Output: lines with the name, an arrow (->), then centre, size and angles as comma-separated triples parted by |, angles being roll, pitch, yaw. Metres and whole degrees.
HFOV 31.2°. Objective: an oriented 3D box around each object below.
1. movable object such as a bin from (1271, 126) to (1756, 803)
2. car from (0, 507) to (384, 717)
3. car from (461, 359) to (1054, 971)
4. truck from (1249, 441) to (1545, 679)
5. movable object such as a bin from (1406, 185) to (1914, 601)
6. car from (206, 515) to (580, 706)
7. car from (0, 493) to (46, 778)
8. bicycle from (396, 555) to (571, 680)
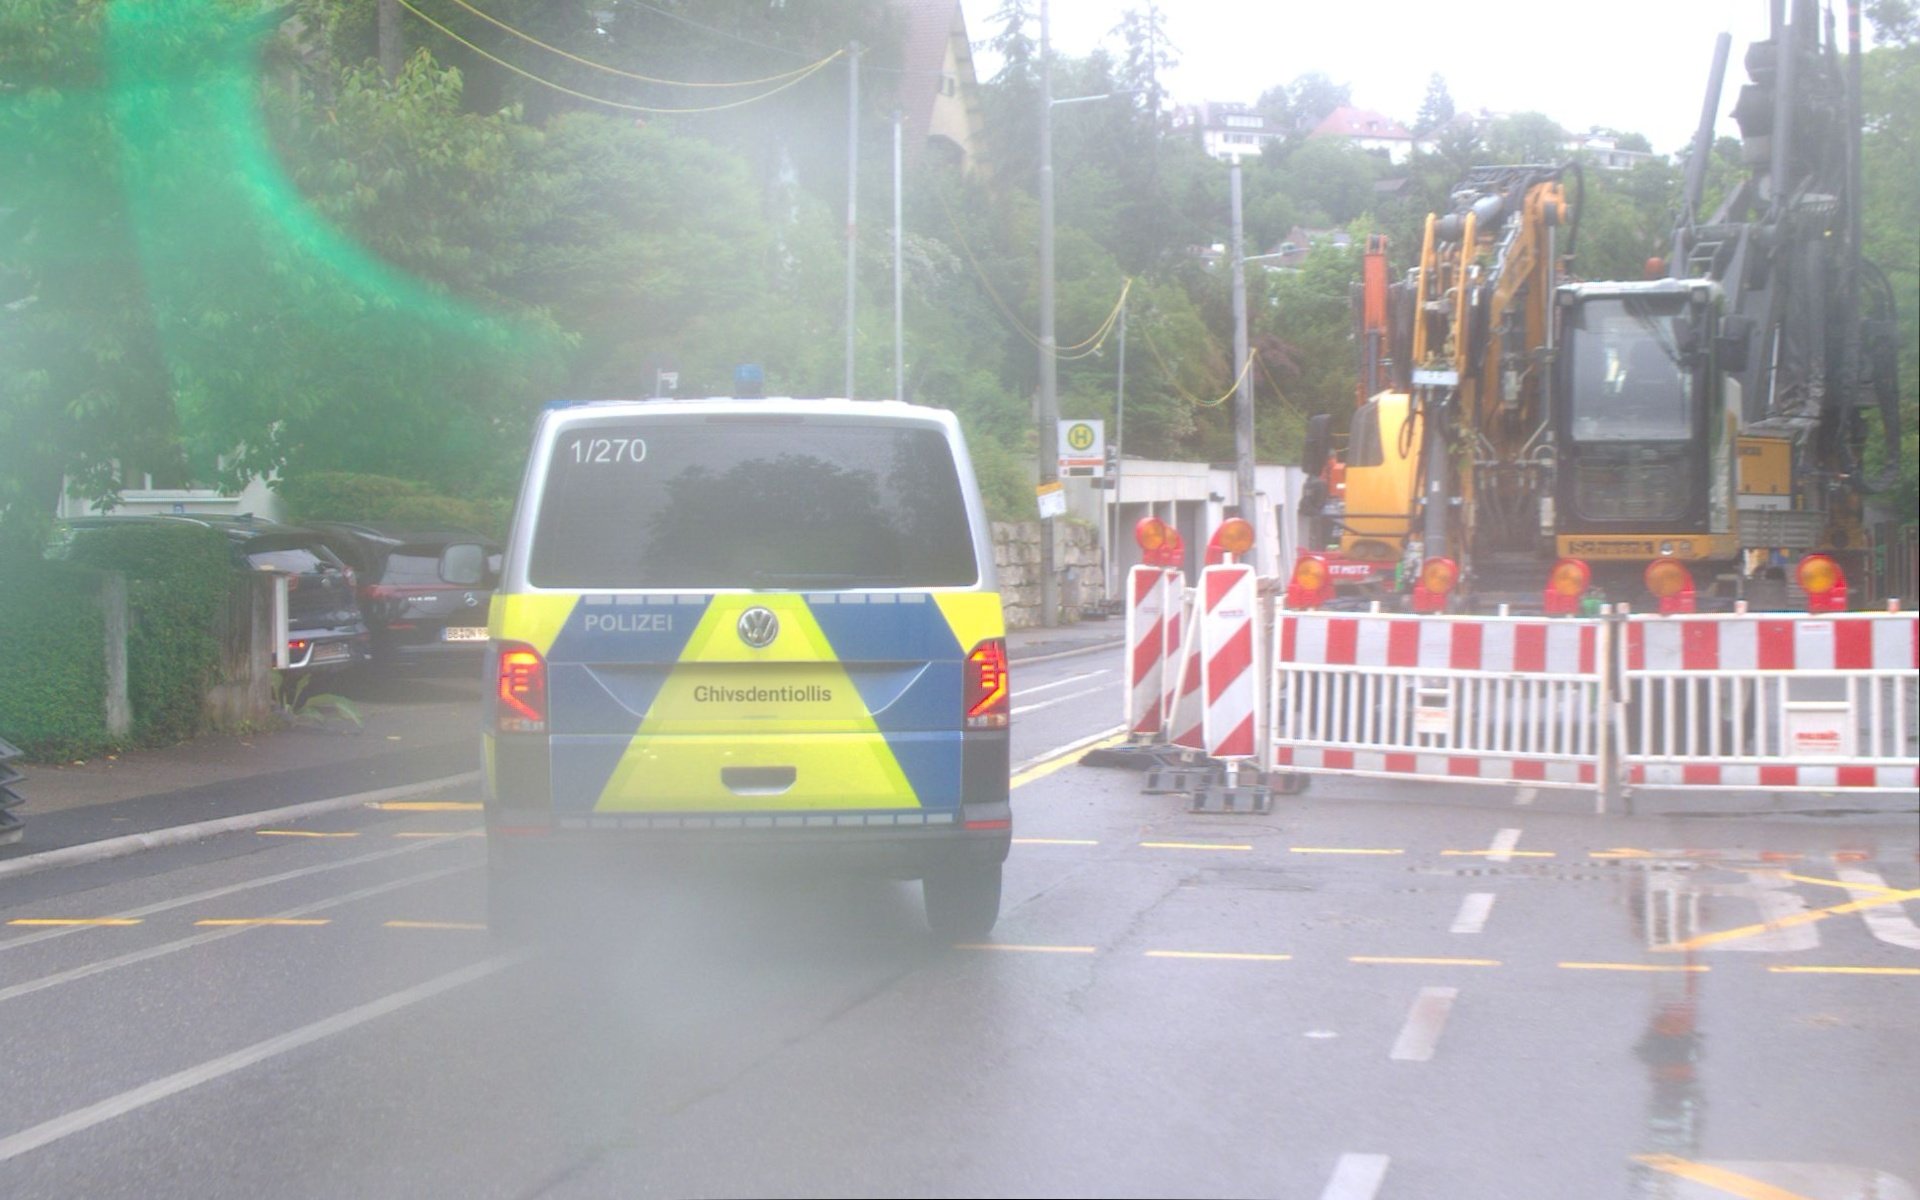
movable object such as a bin -> 3.940, -0.879, 23.652 | 2.880, 4.156, 4.484 | -1, 1, 14
car -> -6.764, 0.057, 26.921 | 3.991, 1.520, 1.939 | 1, 0, 21
car -> -0.981, 0.208, 13.636 | 1.907, 2.003, 4.441 | 1, 0, -9
truck -> 4.191, -0.358, 32.481 | 2.552, 2.101, 3.302 | -1, 0, 11
movable object such as a bin -> 9.479, -2.558, 45.965 | 3.691, 5.049, 7.146 | -1, 0, 39
car -> -4.961, 0.054, 29.687 | 1.781, 1.520, 4.000 | 1, 1, -32
car -> -7.998, -0.206, 19.864 | 4.969, 1.611, 1.862 | 12, 6, 21
bicycle -> -4.460, 0.159, 32.130 | 1.620, 1.127, 0.442 | 1, 0, 25
